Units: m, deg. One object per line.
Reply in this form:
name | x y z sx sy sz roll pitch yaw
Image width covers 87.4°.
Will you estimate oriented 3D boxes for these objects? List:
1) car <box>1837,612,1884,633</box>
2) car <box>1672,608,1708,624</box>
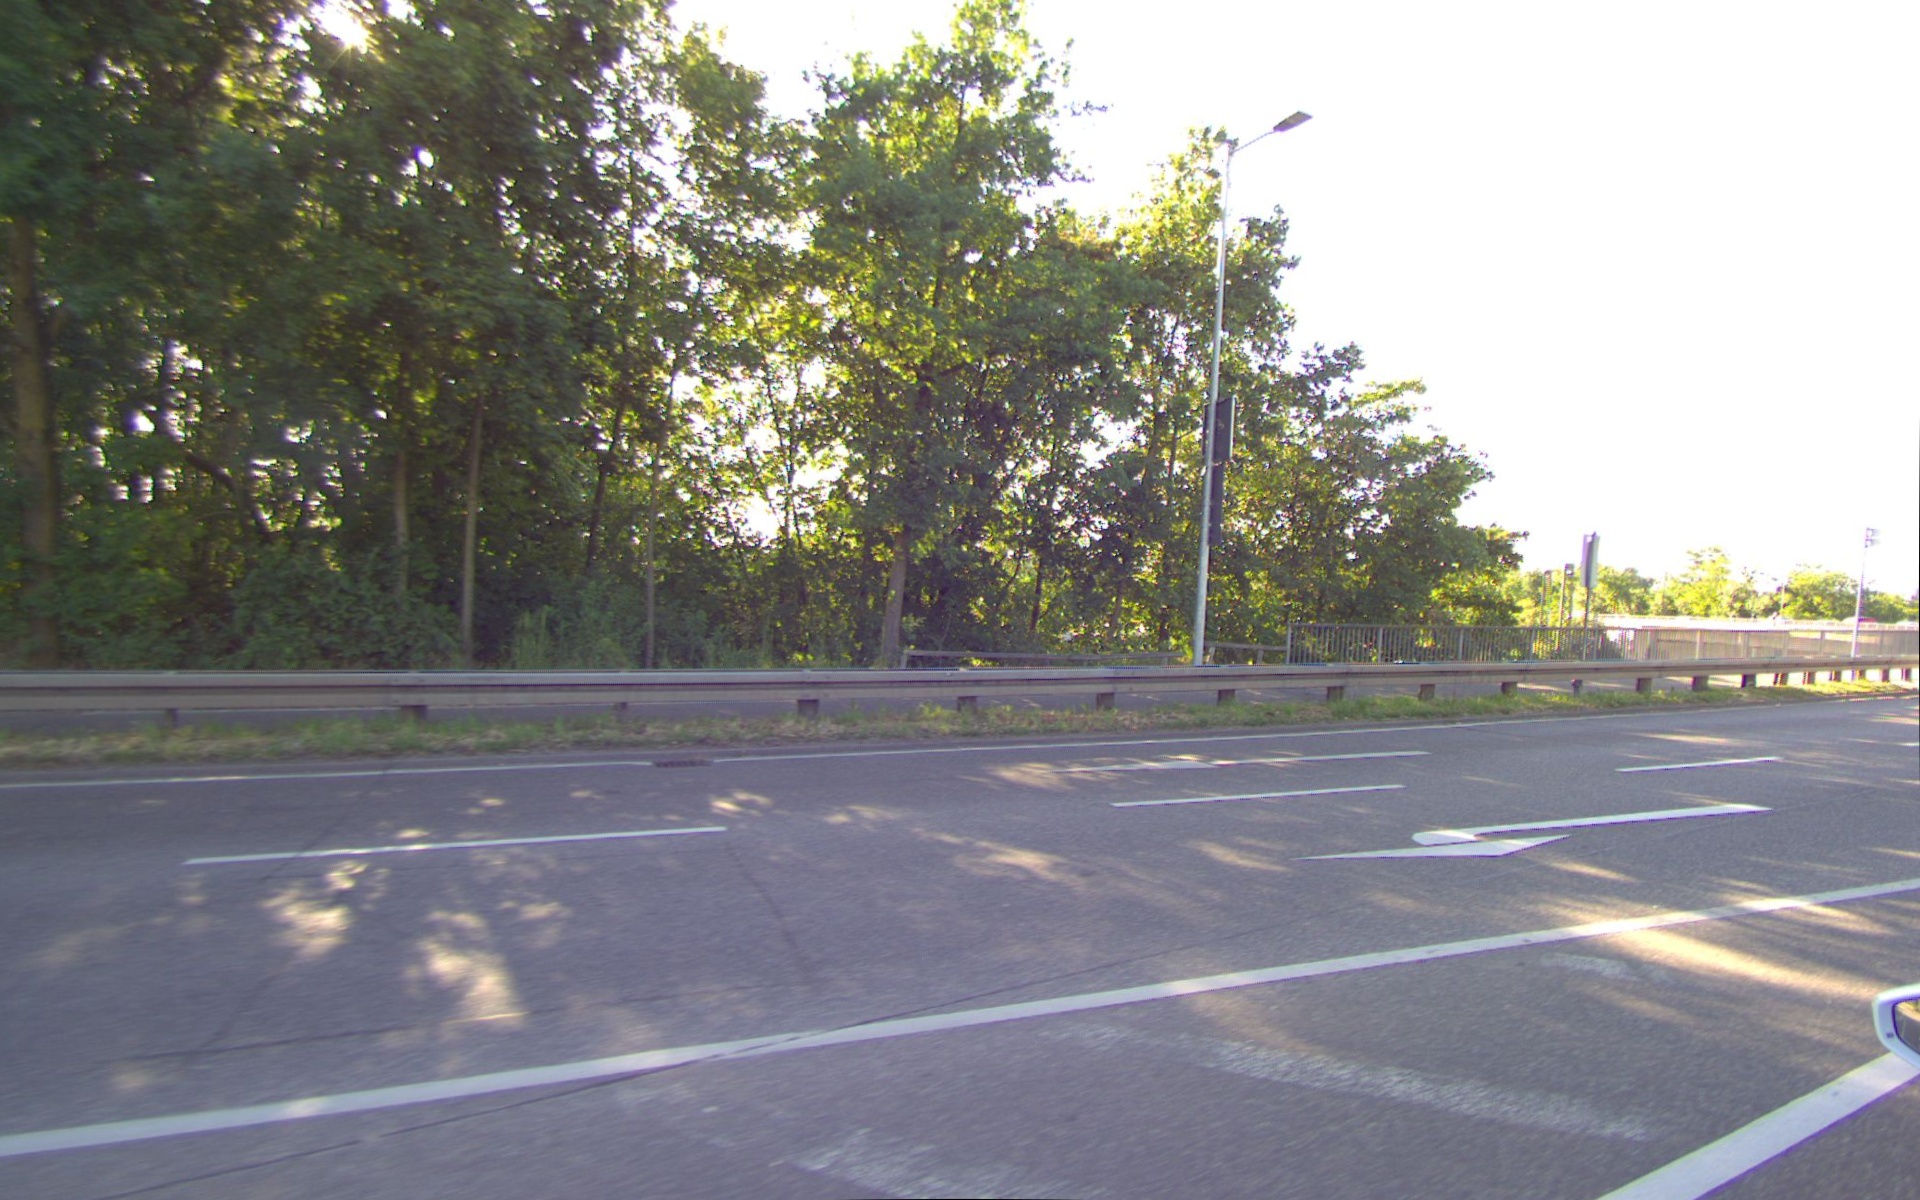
car | 91.471 2.244 102.110 1.923 1.976 4.001 2 0 16
car | 96.806 2.153 133.246 1.923 1.976 4.001 2 0 5
